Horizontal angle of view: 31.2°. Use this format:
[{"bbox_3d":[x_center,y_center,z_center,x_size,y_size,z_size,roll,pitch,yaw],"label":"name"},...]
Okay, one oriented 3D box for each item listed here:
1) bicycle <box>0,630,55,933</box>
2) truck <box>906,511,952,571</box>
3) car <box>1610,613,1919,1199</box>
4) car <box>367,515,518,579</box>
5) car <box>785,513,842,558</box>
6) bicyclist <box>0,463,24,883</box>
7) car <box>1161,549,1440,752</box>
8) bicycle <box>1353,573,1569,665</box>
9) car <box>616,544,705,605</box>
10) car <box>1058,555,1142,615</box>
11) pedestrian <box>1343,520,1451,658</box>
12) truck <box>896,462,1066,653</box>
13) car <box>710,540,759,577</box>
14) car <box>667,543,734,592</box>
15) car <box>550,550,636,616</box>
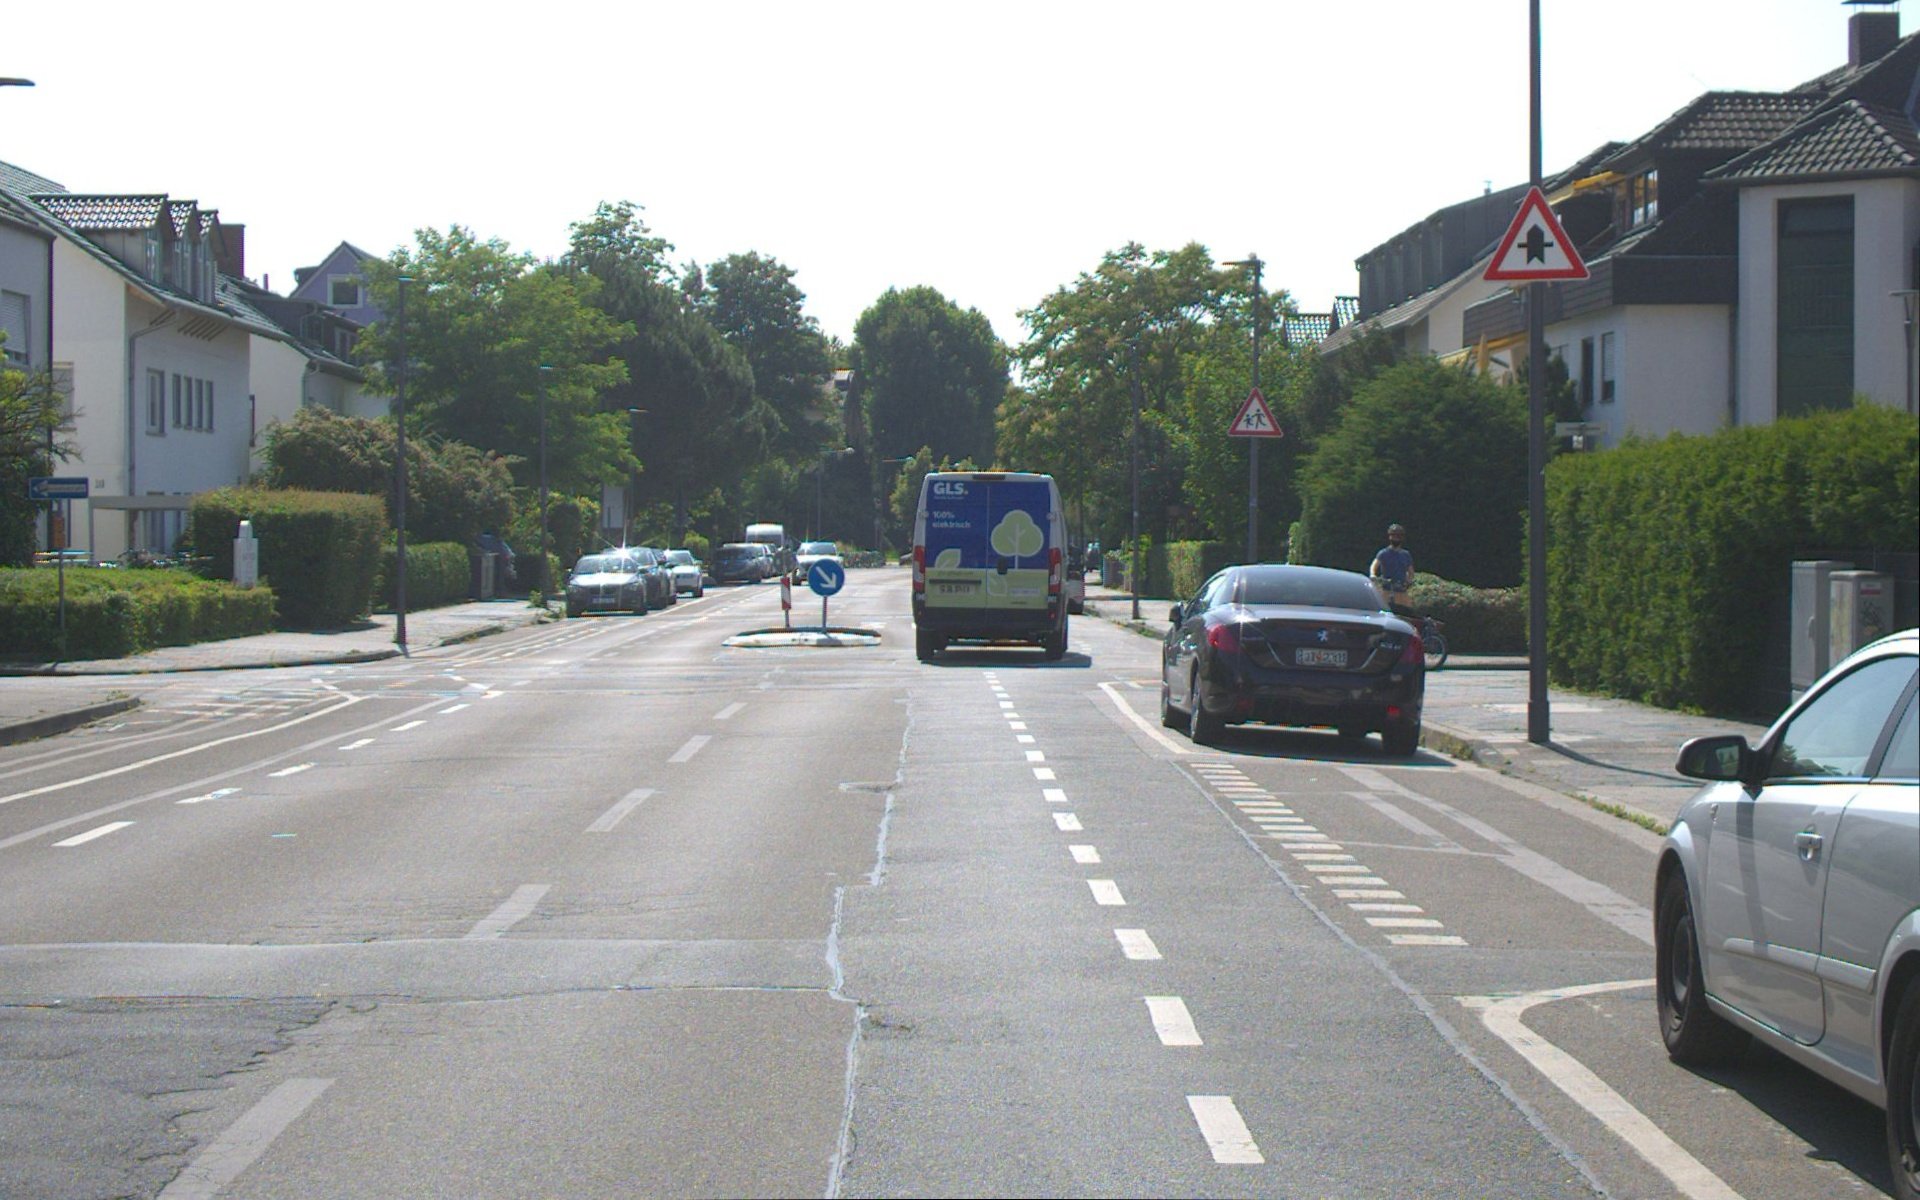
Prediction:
[{"bbox_3d":[-4.143,0.735,12.978,0.782,1.162,2.420,-2,1,0],"label":"bicycle"},{"bbox_3d":[-1.515,-2.890,169.004,2.214,2.936,5.686,0,1,0],"label":"truck"},{"bbox_3d":[2.970,0.753,8.877,1.736,1.324,4.076,3,0,0],"label":"car"},{"bbox_3d":[-14.671,-1.514,97.602,3.987,1.753,2.000,0,1,0],"label":"car"},{"bbox_3d":[-5.550,-2.445,130.692,1.915,1.661,4.506,-1,1,0],"label":"car"},{"bbox_3d":[-4.190,0.300,13.397,0.749,1.662,1.022,-2,1,0],"label":"bicyclist"},{"bbox_3d":[2.659,0.353,27.746,1.736,1.463,4.345,2,1,0],"label":"car"},{"bbox_3d":[6.625,0.238,45.550,2.708,1.154,0.862,1,1,32],"label":"bicycle"},{"bbox_3d":[-7.484,-0.654,86.209,1.785,1.435,4.111,-1,1,1],"label":"car"},{"bbox_3d":[3.371,-0.377,83.286,1.740,1.397,4.074,0,0,-2],"label":"car"},{"bbox_3d":[6.001,-0.164,47.261,0.899,1.866,1.189,0,1,-34],"label":"pedestrian"},{"bbox_3d":[0.315,-0.598,48.355,2.272,2.562,4.392,0,1,1],"label":"truck"},{"bbox_3d":[-9.006,-1.684,137.557,1.780,1.455,4.086,0,1,-2],"label":"car"},{"bbox_3d":[-7.770,-0.994,103.124,1.785,1.435,4.000,0,1,-1],"label":"car"},{"bbox_3d":[-8.479,-0.412,79.622,1.785,1.435,4.155,-1,1,-4],"label":"car"}]
